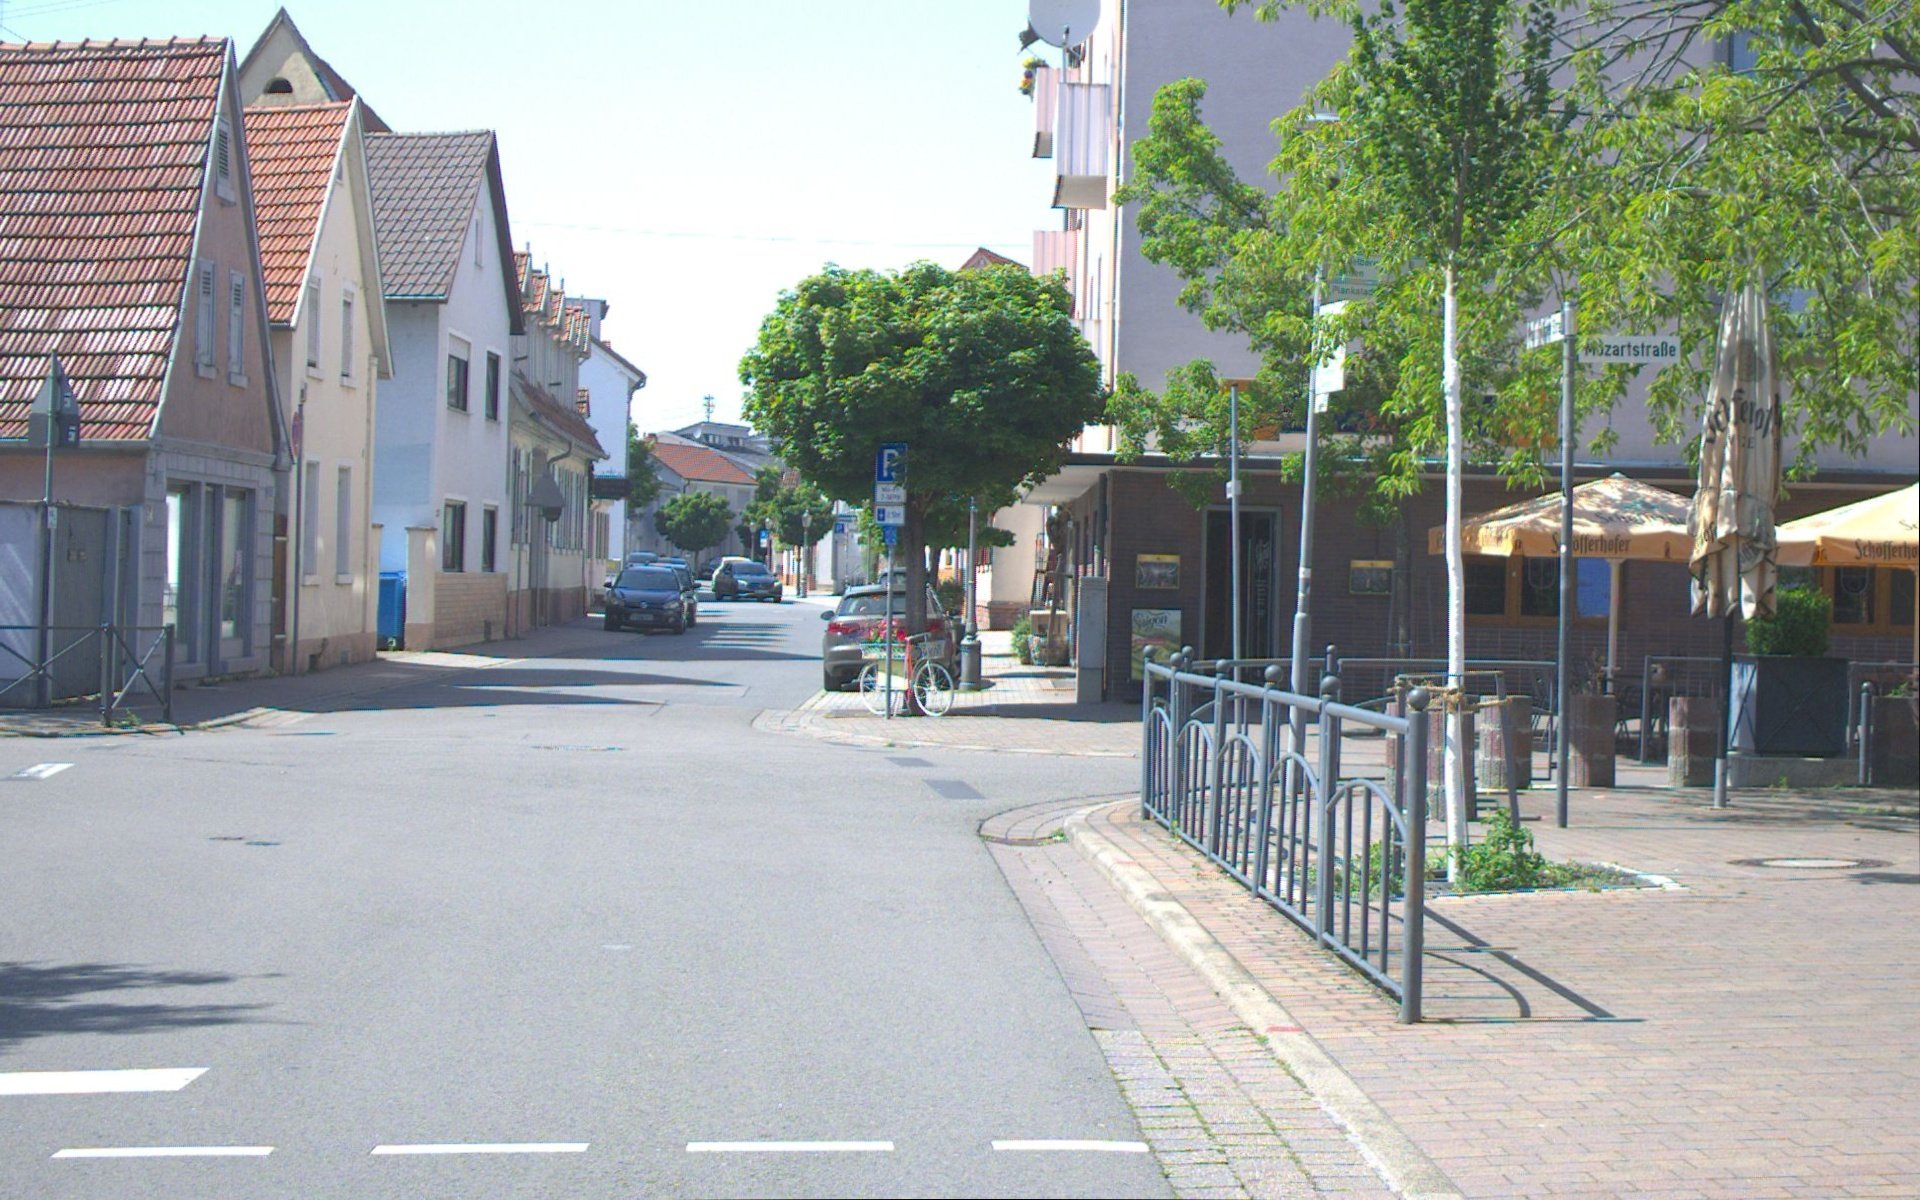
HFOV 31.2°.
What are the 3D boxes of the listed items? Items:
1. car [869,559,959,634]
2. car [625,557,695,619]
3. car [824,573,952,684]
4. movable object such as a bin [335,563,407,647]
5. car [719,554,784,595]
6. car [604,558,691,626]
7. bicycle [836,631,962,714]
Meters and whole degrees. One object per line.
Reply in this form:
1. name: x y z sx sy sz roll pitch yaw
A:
1. car: -1.082 -0.108 81.049 2.043 1.683 4.842 1 1 -1
2. car: -7.386 -0.304 84.736 1.663 1.471 3.451 1 1 -4
3. car: -0.956 0.364 47.182 1.576 1.449 3.486 1 0 1
4. movable object such as a bin: -9.726 0.075 56.762 1.102 1.361 0.390 1 0 3
5. car: -7.861 -0.938 129.089 1.908 1.476 4.845 1 0 -10
6. car: -7.079 -0.202 78.182 1.663 1.471 4.135 1 1 -1
7. bicycle: -0.690 0.808 38.562 1.412 0.894 0.464 0 1 36
